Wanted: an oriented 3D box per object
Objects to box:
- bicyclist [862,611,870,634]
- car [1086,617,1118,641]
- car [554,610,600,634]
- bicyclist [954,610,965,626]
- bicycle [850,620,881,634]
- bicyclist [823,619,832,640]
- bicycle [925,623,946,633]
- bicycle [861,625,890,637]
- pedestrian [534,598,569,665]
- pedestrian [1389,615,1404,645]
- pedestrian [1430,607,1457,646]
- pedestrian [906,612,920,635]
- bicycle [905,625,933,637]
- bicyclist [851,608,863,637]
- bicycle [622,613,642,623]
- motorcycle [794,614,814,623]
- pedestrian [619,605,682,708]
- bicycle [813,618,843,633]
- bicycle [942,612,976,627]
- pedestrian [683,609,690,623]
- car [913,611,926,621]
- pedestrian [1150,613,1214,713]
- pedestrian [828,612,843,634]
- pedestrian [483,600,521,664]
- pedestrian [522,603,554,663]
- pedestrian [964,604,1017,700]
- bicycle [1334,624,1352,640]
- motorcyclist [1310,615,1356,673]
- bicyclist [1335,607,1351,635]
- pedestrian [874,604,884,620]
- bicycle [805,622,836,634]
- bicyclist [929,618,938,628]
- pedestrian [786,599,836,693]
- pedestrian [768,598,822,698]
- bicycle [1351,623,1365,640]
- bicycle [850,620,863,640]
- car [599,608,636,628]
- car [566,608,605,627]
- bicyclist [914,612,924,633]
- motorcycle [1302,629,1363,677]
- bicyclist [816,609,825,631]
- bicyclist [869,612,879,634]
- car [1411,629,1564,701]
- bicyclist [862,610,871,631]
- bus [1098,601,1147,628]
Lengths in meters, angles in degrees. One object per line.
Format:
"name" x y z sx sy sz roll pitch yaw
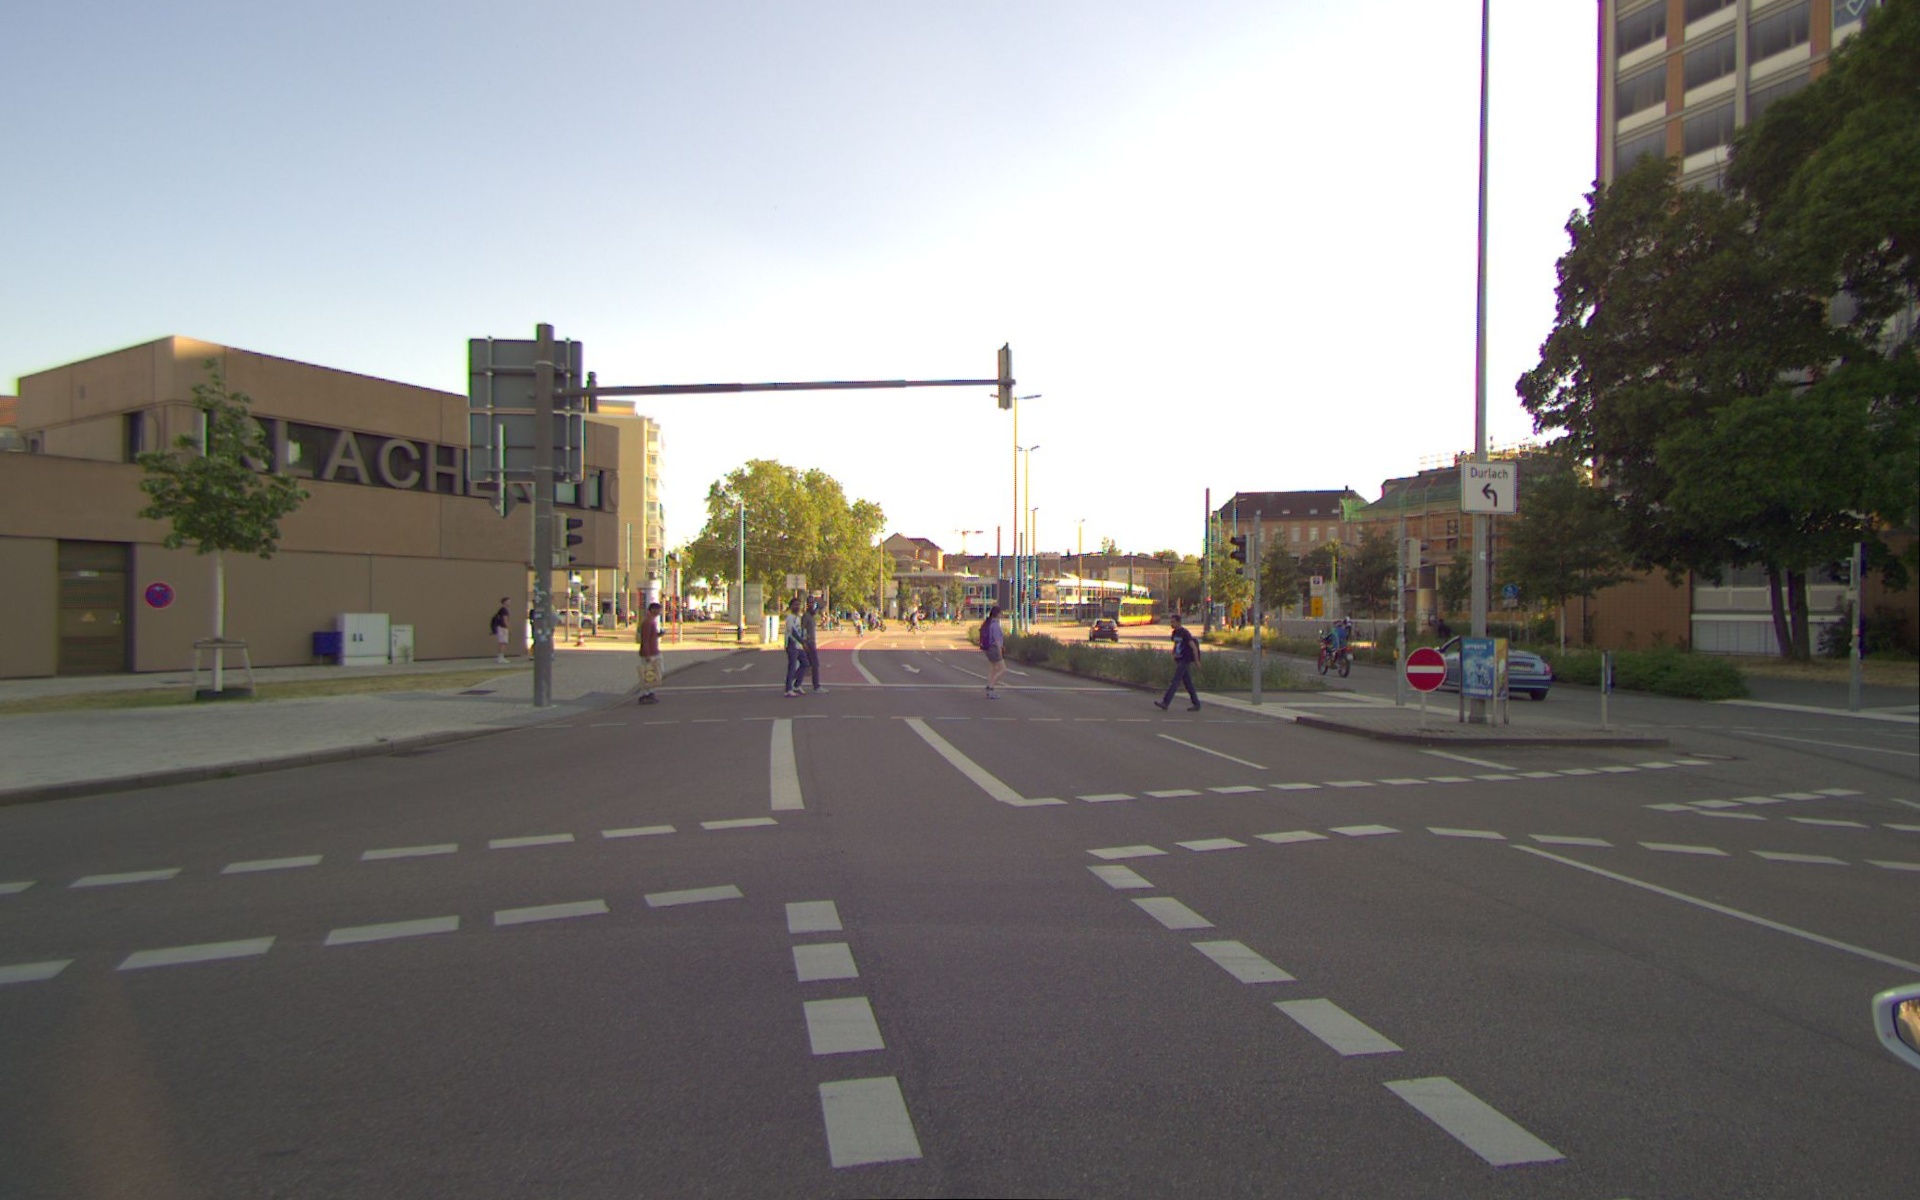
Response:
"bicyclist" -7.694 1.836 82.173 0.575 1.801 0.864 1 0 -15
"car" 9.159 1.855 64.936 1.770 1.463 3.980 2 -1 4
"car" -34.585 1.997 90.722 3.685 2.041 1.993 1 1 -16
"bicyclist" -0.023 2.173 121.174 1.055 1.926 1.119 1 1 -14
"bicycle" -7.921 2.274 84.342 2.459 1.148 0.857 1 1 -14
"bicyclist" -11.095 2.476 84.147 0.639 1.713 0.859 1 1 -7
"bicycle" -2.865 3.280 117.838 2.274 0.972 0.854 -2 2 -27
"bicycle" -6.956 2.514 82.385 2.265 0.918 0.857 1 1 -16
"pedestrian" -11.628 0.882 28.585 0.704 1.860 0.639 1 1 4
"pedestrian" 25.348 1.744 58.305 0.712 1.681 0.718 3 0 23
"pedestrian" 21.716 1.183 45.122 0.793 1.681 0.789 -1 0 -6
"pedestrian" -3.531 1.744 75.247 0.821 1.694 0.692 1 0 -35
"bicycle" -3.423 2.554 83.918 2.263 0.918 0.858 1 1 -12
"bicyclist" -6.701 1.461 65.221 0.729 1.856 1.012 1 -1 -9
"bicycle" -36.864 1.967 112.849 2.015 1.105 0.775 1 0 -16
"motorcycle" -18.144 2.139 116.882 2.250 1.068 0.686 1 1 -9
"pedestrian" -5.430 0.982 17.681 0.910 1.764 0.787 0 0 -7
"bicycle" -11.032 2.149 84.135 2.455 1.148 0.859 1 1 -8
"bicycle" -0.115 2.301 121.159 3.933 1.713 1.135 1 1 -15
"pedestrian" -31.725 1.870 116.513 0.765 1.698 0.781 1 0 -13
"car" -6.720 2.603 166.457 1.961 1.555 3.998 1 1 -2
"pedestrian" 3.878 1.082 17.568 0.883 1.707 0.747 0 0 -7
"pedestrian" -9.421 1.734 75.995 1.076 1.628 0.698 1 1 -7
"pedestrian" -12.889 0.891 28.272 0.723 1.754 0.664 2 2 28
"pedestrian" -12.261 0.943 29.207 0.626 1.711 0.550 2 1 17
"pedestrian" 0.570 0.970 19.040 0.910 1.764 0.756 0 0 -7
"bicycle" 25.186 2.083 66.019 0.776 1.052 1.964 -1 -2 12
"motorcyclist" 11.490 1.350 30.983 1.077 1.744 0.937 1 -1 5
"bicyclist" 25.158 1.399 65.983 0.773 1.810 0.894 -1 -1 12
"pedestrian" -9.408 1.360 116.314 0.972 1.841 0.920 1 1 2
"bicycle" -11.516 2.323 82.879 2.456 0.886 0.858 1 1 -9
"bicyclist" -3.126 2.715 117.677 0.706 1.158 0.831 1 2 -27
"pedestrian" -2.833 0.862 19.229 0.910 1.764 0.756 0 0 -7
"pedestrian" -2.985 0.859 18.232 0.910 1.764 0.756 0 0 -7
"bicycle" 26.168 2.051 66.059 0.617 1.052 1.960 -2 -2 29
"bicycle" -6.740 1.916 65.330 0.729 1.272 2.553 1 -1 -8
"car" -35.524 1.833 104.131 3.940 1.882 1.844 2 2 40
"car" -38.424 1.792 103.034 3.931 1.772 1.835 2 2 33
"bicyclist" -3.446 1.872 83.911 0.640 1.713 0.858 1 1 -11
"motorcycle" 11.504 1.610 31.104 1.077 1.395 2.654 1 -1 5
"bicyclist" -11.506 1.642 82.861 0.734 1.713 0.859 1 1 -9
"bicyclist" -7.047 1.898 82.348 0.640 1.713 0.857 1 1 -15
"car" 12.603 1.505 24.288 1.770 1.463 3.980 2 -1 3
"bicyclist" -7.854 1.711 84.347 0.640 1.713 0.858 1 1 -14
"bus" 19.047 1.638 117.201 2.320 2.922 9.557 2 1 31
